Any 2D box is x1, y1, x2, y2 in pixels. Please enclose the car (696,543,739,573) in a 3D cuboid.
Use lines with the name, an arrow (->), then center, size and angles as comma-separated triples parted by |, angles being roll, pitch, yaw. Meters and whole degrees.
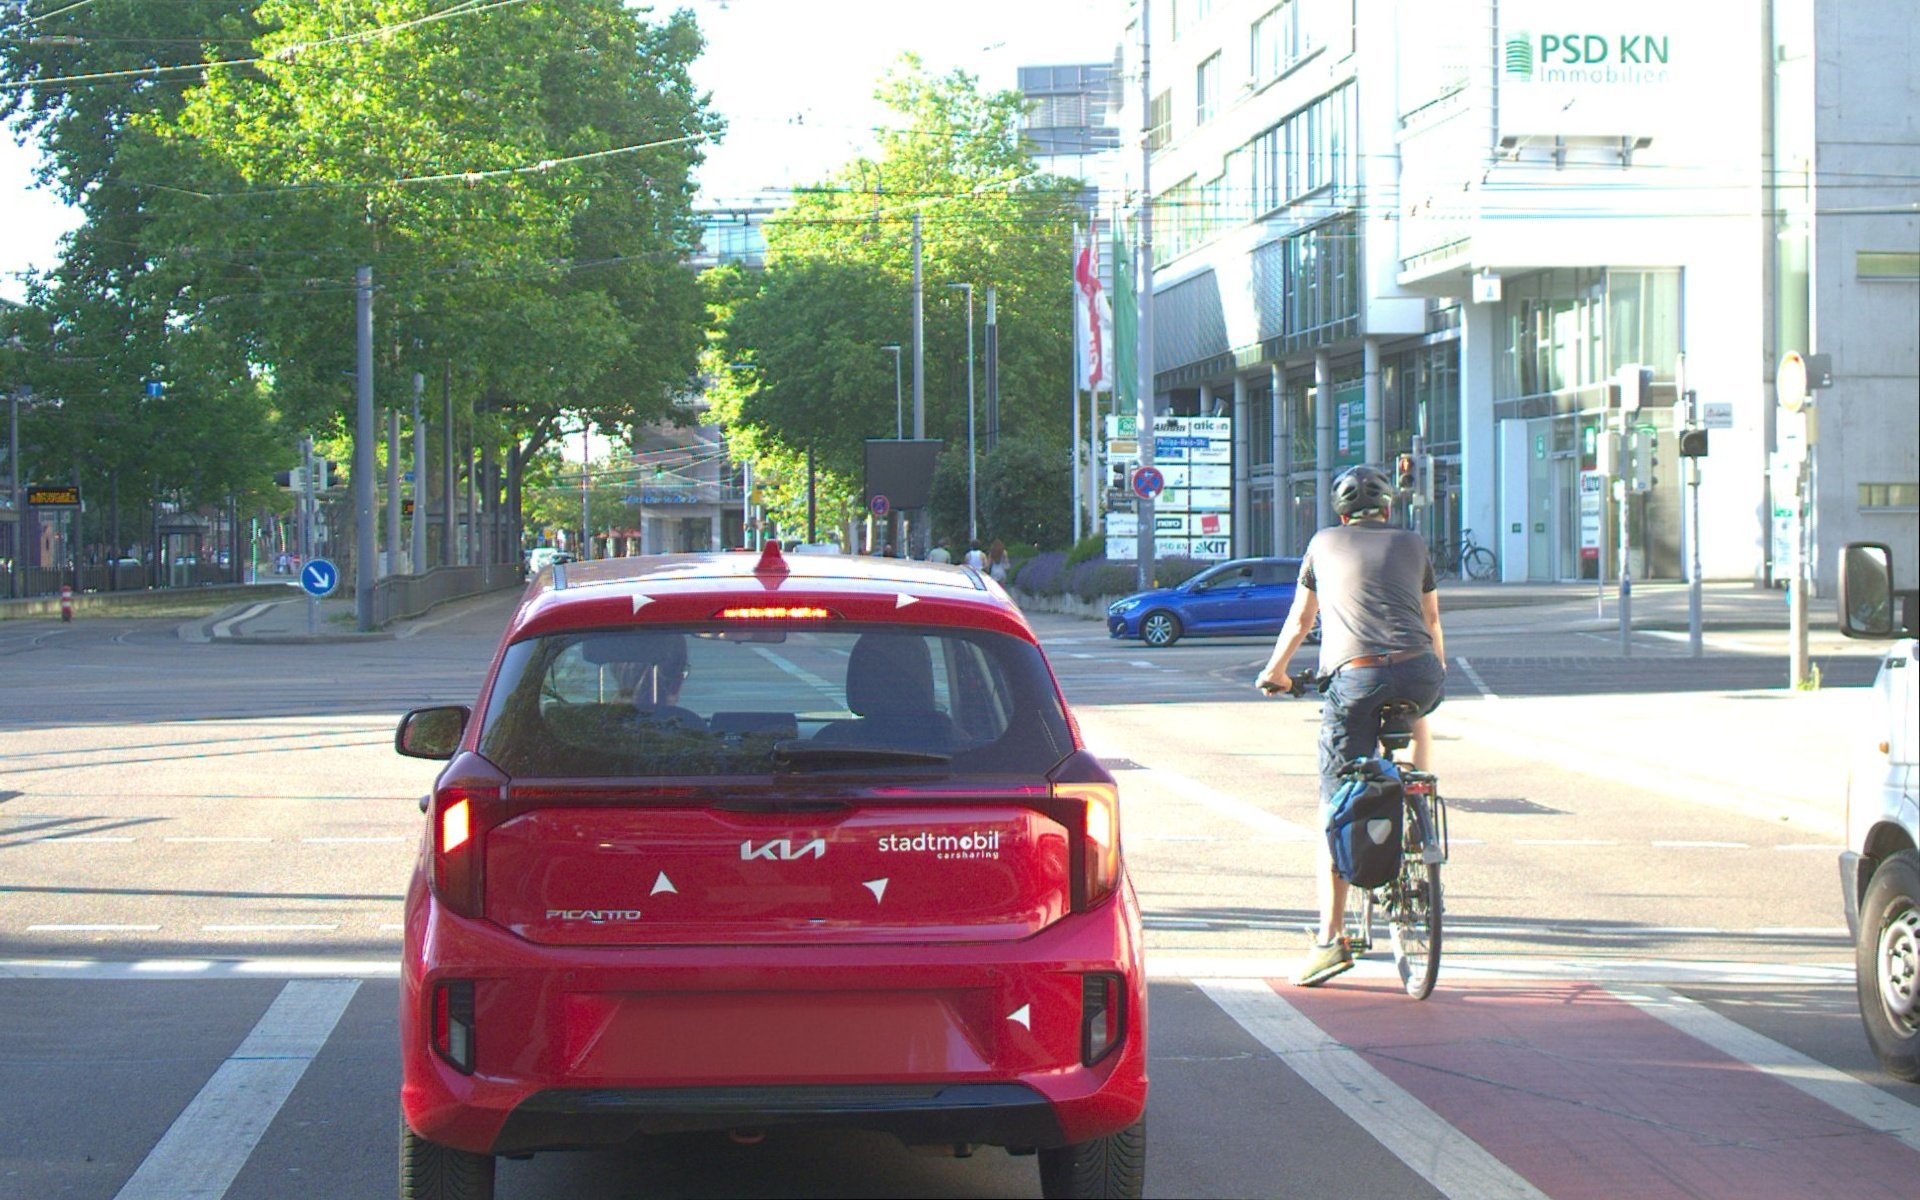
car -> -12.884, -2.213, 182.195 | 1.884, 1.523, 4.433 | -1, 1, -9

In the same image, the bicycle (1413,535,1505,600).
bicycle -> 11.185, -0.732, 77.075 | 1.934, 1.438, 0.575 | -1, 1, -7

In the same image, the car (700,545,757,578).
car -> -11.347, -1.888, 168.162 | 2.478, 1.523, 4.433 | -1, 1, -7

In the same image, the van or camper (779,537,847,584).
van or camper -> -5.746, -1.557, 134.054 | 2.145, 1.744, 4.433 | -1, 1, -9

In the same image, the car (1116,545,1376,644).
car -> 4.784, -0.104, 57.635 | 4.260, 1.562, 1.849 | -1, 1, 4

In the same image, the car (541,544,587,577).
car -> -20.398, -2.056, 177.144 | 2.057, 1.648, 3.493 | -1, 1, -11

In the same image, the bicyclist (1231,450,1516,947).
bicyclist -> 1.424, 0.326, 11.932 | 0.743, 1.663, 0.745 | 1, 1, -12

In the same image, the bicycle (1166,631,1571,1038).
bicycle -> 1.379, 0.764, 12.099 | 0.743, 1.220, 2.157 | 1, 1, -12

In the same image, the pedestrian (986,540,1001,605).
pedestrian -> 0.804, -0.671, 82.624 | 0.294, 1.556, 0.356 | -1, 1, -3

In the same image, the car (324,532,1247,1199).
car -> -0.519, 0.579, 8.759 | 1.839, 1.484, 3.717 | -1, 1, -6

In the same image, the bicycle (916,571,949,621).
bicycle -> -0.667, -0.115, 83.778 | 0.792, 1.157, 2.500 | -1, 1, 0

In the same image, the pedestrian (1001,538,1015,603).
pedestrian -> 1.148, -0.718, 82.669 | 0.294, 1.556, 0.314 | -1, 1, 4

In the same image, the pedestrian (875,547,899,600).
pedestrian -> -2.365, -0.863, 111.958 | 0.742, 1.710, 0.748 | -1, 1, -3

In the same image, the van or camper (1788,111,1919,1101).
van or camper -> 3.966, 0.079, 7.365 | 2.268, 2.724, 6.348 | 2, 1, -5

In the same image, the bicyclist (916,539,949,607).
bicyclist -> -0.672, -0.664, 84.034 | 0.785, 1.629, 0.639 | -1, 1, -1

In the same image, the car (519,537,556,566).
car -> -29.328, -3.389, 238.782 | 1.993, 2.007, 4.000 | -1, 1, 0

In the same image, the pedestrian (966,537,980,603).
pedestrian -> 0.311, -0.718, 82.262 | 0.294, 1.556, 0.302 | -1, 1, 0
